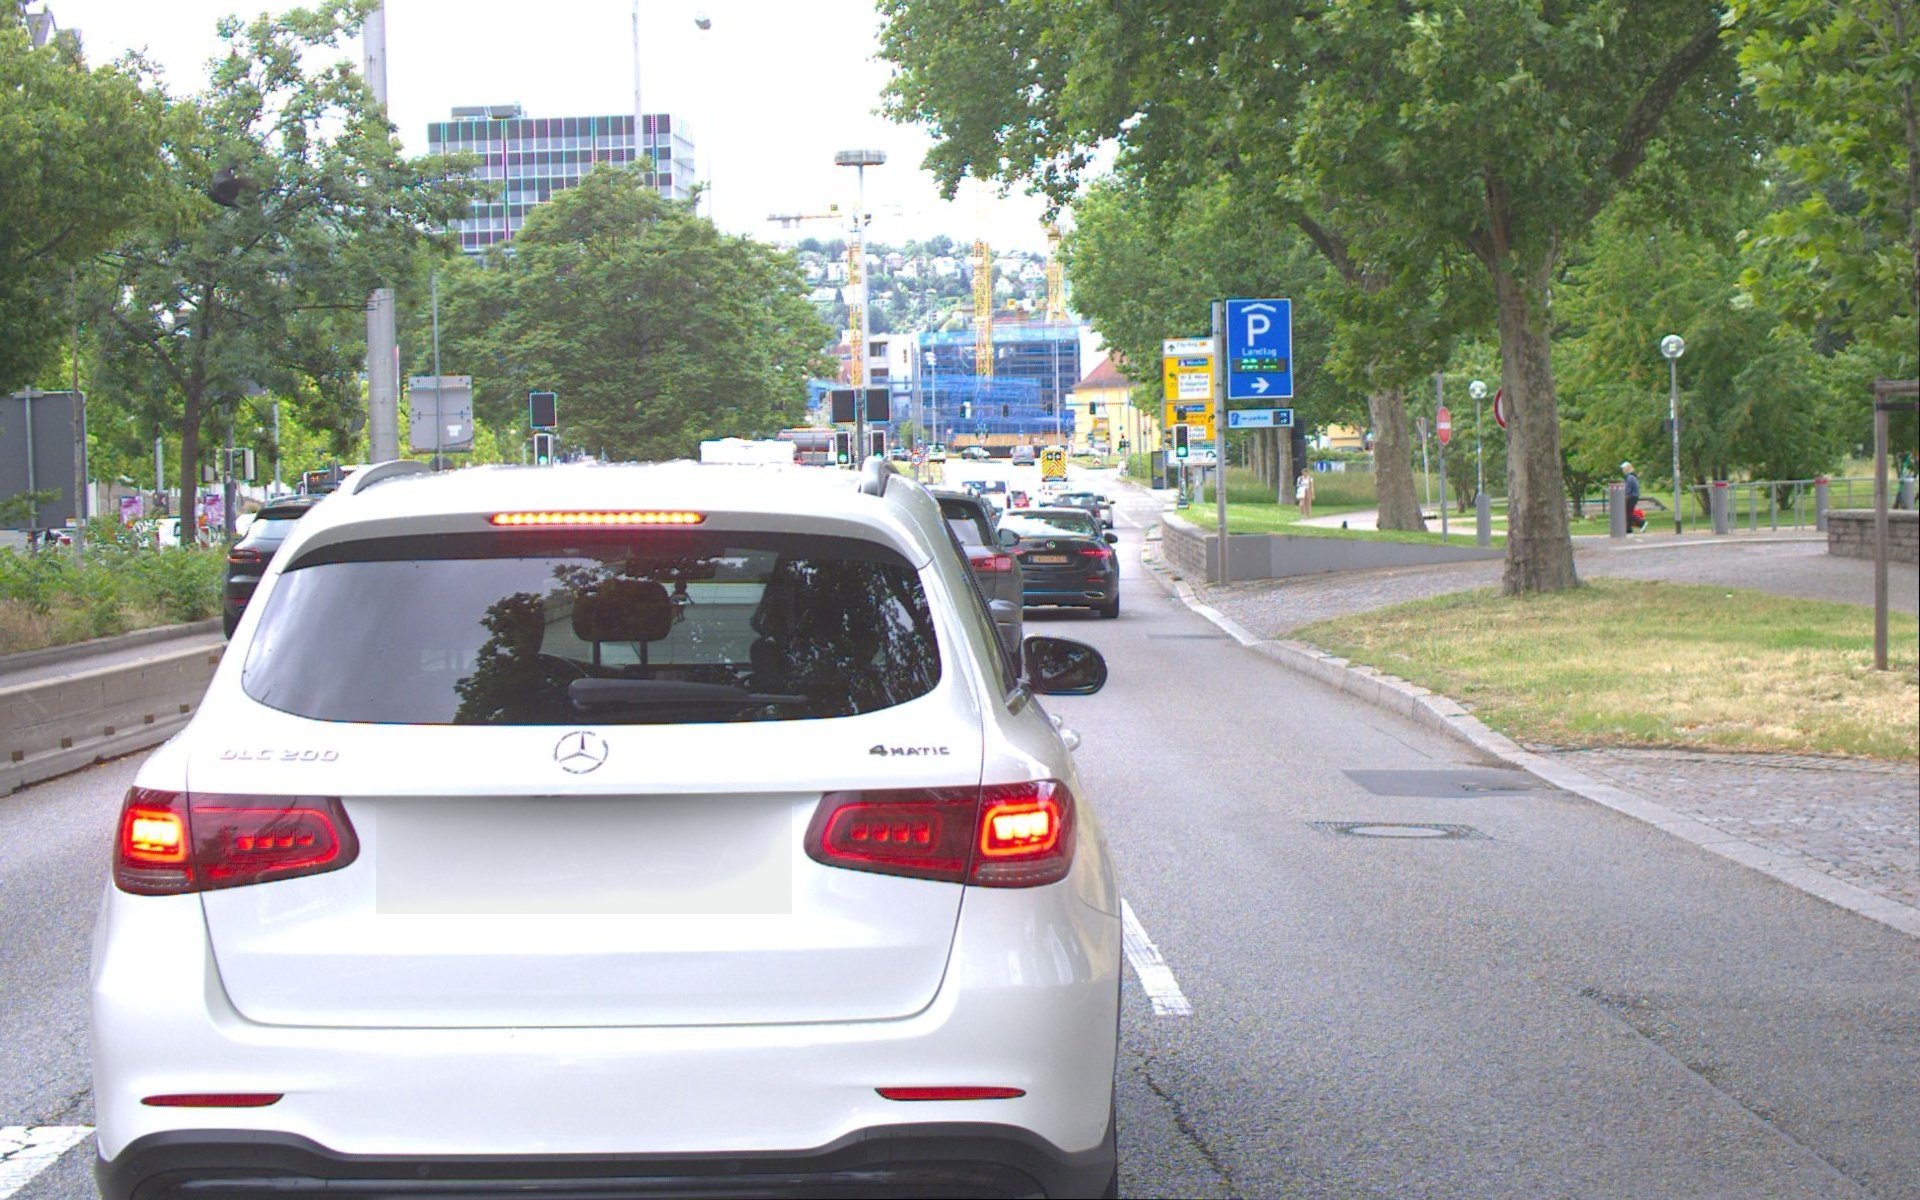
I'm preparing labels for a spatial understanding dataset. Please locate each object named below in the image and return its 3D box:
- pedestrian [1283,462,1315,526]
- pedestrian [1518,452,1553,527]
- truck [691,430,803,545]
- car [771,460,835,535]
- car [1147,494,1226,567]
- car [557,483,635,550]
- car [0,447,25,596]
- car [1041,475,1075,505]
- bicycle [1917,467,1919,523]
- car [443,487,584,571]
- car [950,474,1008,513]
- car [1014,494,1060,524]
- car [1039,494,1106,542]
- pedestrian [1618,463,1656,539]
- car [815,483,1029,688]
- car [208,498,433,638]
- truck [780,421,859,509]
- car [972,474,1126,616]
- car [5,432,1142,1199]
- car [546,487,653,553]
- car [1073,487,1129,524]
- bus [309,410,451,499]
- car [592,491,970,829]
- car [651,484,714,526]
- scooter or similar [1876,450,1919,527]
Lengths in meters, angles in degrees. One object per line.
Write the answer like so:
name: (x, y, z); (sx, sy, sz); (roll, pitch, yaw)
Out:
pedestrian: (10.805, -3.377, 109.563); (0.761, 2.006, 0.697); (0, 2, 36)
pedestrian: (13.262, -2.543, 79.216); (0.759, 1.719, 0.699); (-1, 2, 8)
truck: (-5.424, -2.893, 88.480); (2.621, 2.851, 7.079); (0, 2, -1)
car: (-5.303, -3.500, 116.744); (1.993, 2.467, 4.001); (-1, 2, -1)
car: (6.314, -1.960, 96.123); (1.993, 2.007, 4.000); (0, 1, 1)
car: (-8.443, -1.957, 79.890); (1.659, 1.508, 3.548); (-1, 2, -4)
car: (-13.677, -0.957, 43.610); (2.115, 1.962, 5.579); (-1, 2, 0)
car: (5.457, -6.167, 192.241); (1.758, 1.663, 4.168); (-1, 2, 0)
bicycle: (18.706, -1.970, 64.233); (0.954, 1.060, 2.336); (1, 1, -1)
car: (-7.158, -1.154, 55.343); (1.659, 1.315, 3.547); (0, 1, 3)
car: (0.660, -3.629, 117.725); (1.947, 1.315, 4.017); (0, 1, 1)
car: (3.392, -4.027, 151.805); (1.947, 1.315, 4.017); (0, 1, 1)
car: (3.424, -2.498, 104.982); (1.947, 1.423, 4.017); (0, 1, 1)
pedestrian: (14.308, -2.096, 72.685); (0.639, 1.605, 0.662); (0, 2, 24)
car: (-0.375, -0.161, 29.242); (1.659, 1.633, 3.548); (0, 1, -3)
car: (-7.066, -0.394, 38.328); (1.776, 1.415, 4.001); (-1, 2, -1)
truck: (-5.006, -4.801, 123.087); (2.691, 2.981, 5.638); (1, 1, -1)
car: (1.120, -0.758, 45.104); (1.825, 1.746, 4.001); (-1, 2, -1)
car: (-0.691, 0.492, 7.707); (1.788, 1.619, 4.438); (-1, 2, -2)
car: (-7.354, -1.635, 70.386); (1.659, 1.315, 3.547); (0, 1, 3)
car: (5.213, -3.511, 127.740); (1.947, 1.315, 4.017); (0, 1, 1)
bus: (-22.246, -5.553, 132.823); (3.667, 3.194, 14.276); (-1, 2, -3)
car: (-1.016, 0.236, 18.300); (1.795, 1.603, 3.756); (0, 1, -5)
car: (-8.704, -2.981, 108.009); (1.659, 1.315, 3.547); (0, 1, 1)
scooter or similar: (15.943, -1.857, 57.625); (0.636, 1.241, 2.225); (1, 1, 2)
